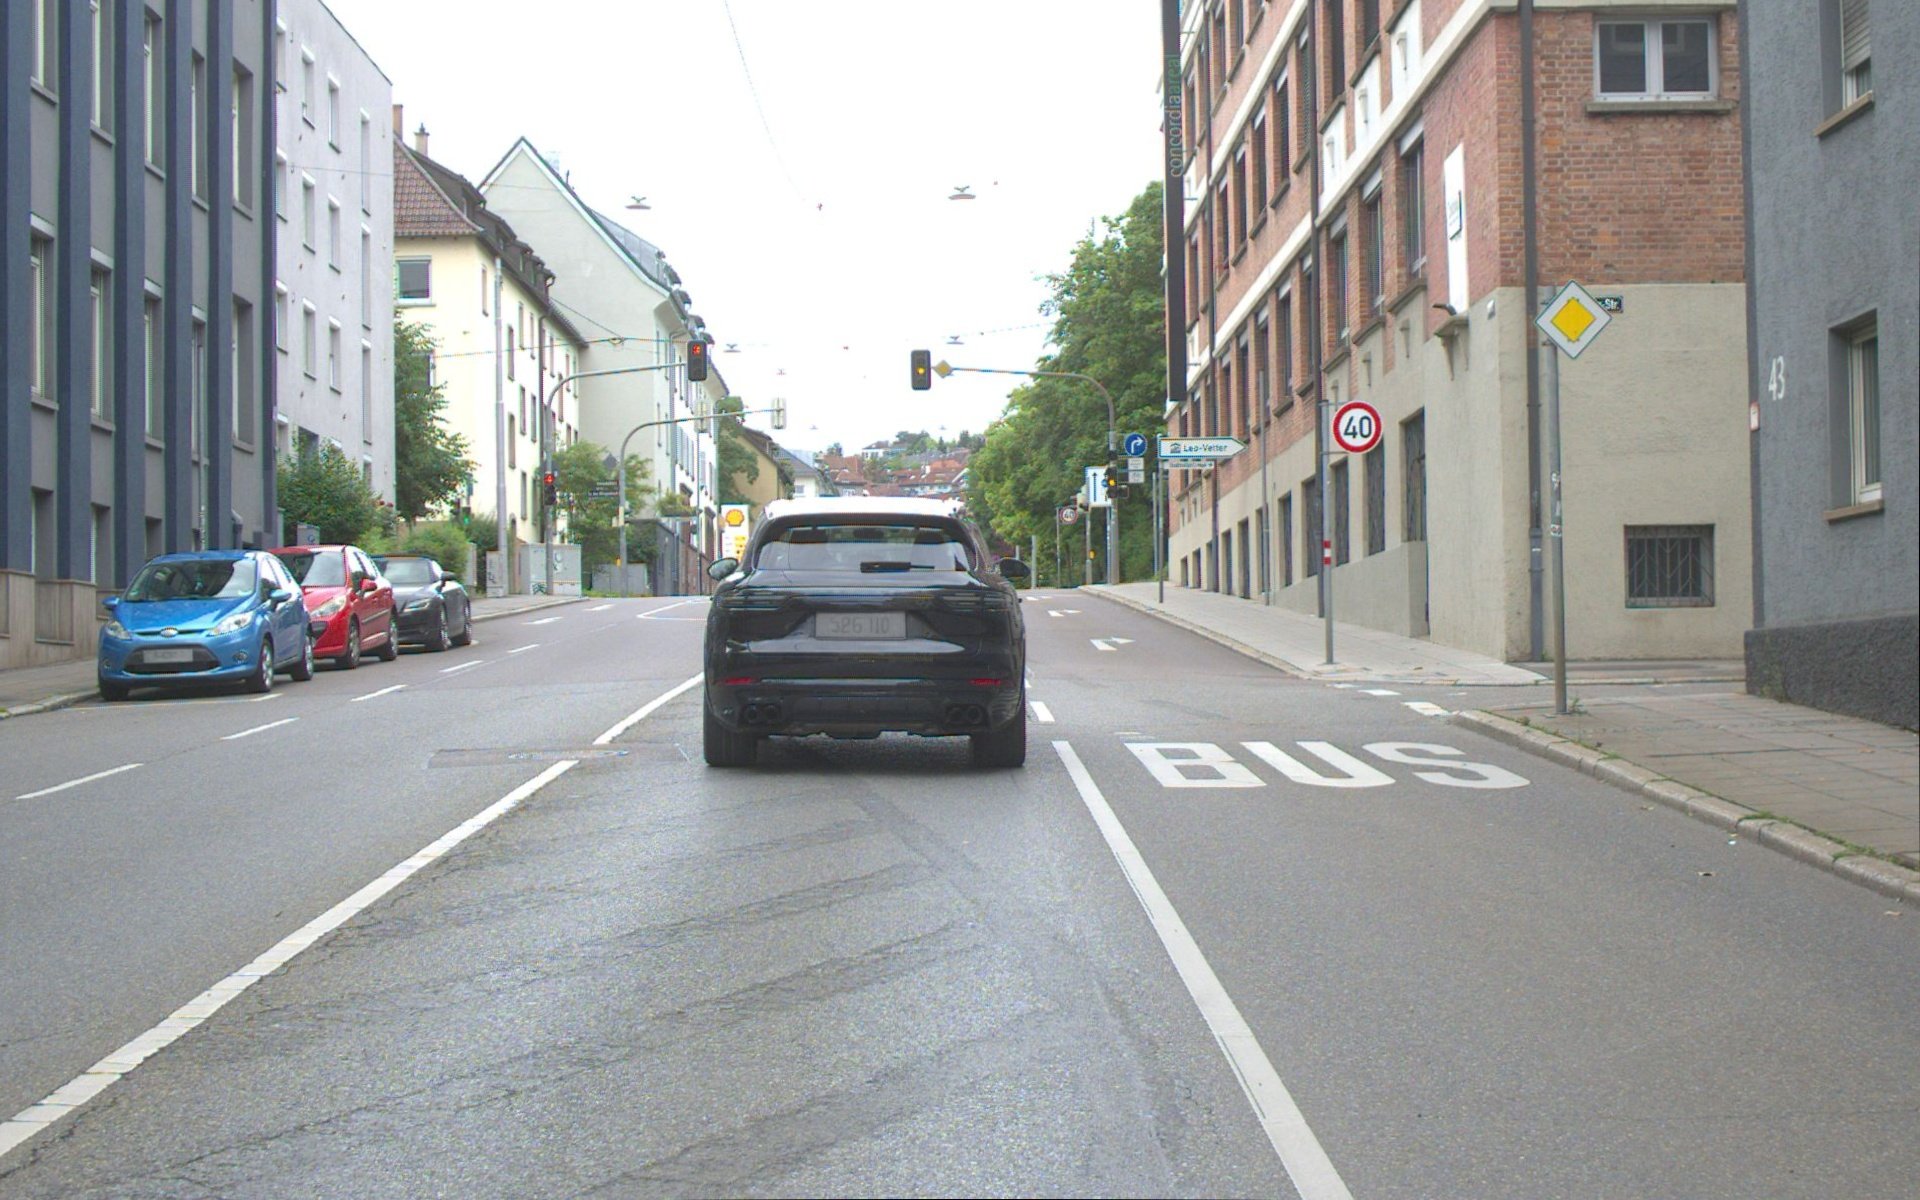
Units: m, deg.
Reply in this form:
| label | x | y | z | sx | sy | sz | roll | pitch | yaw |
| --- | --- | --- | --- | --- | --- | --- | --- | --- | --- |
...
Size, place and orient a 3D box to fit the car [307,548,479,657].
| label | x | y | z | sx | sy | sz | roll | pitch | yaw |
| --- | --- | --- | --- | --- | --- | --- | --- | --- | --- |
| car | -7.771 | 0.004 | 47.418 | 1.714 | 1.336 | 3.904 | -3 | 1 | -1 |

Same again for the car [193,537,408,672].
| label | x | y | z | sx | sy | sz | roll | pitch | yaw |
| --- | --- | --- | --- | --- | --- | --- | --- | --- | --- |
| car | -7.908 | 0.019 | 41.549 | 1.714 | 1.451 | 3.989 | -3 | 1 | 1 |

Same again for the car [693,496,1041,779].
| label | x | y | z | sx | sy | sz | roll | pitch | yaw |
| --- | --- | --- | --- | --- | --- | --- | --- | --- | --- |
| car | -0.710 | 0.183 | 22.365 | 2.024 | 1.636 | 4.357 | 1 | 1 | -4 |

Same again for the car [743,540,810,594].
| label | x | y | z | sx | sy | sz | roll | pitch | yaw |
| --- | --- | --- | --- | --- | --- | --- | --- | --- | --- |
| car | -6.276 | -1.152 | 117.868 | 1.898 | 1.686 | 4.000 | -3 | 1 | 1 |

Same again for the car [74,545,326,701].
| label | x | y | z | sx | sy | sz | roll | pitch | yaw |
| --- | --- | --- | --- | --- | --- | --- | --- | --- | --- |
| car | -7.877 | 0.196 | 35.970 | 1.714 | 1.419 | 3.990 | -3 | 2 | -1 |
